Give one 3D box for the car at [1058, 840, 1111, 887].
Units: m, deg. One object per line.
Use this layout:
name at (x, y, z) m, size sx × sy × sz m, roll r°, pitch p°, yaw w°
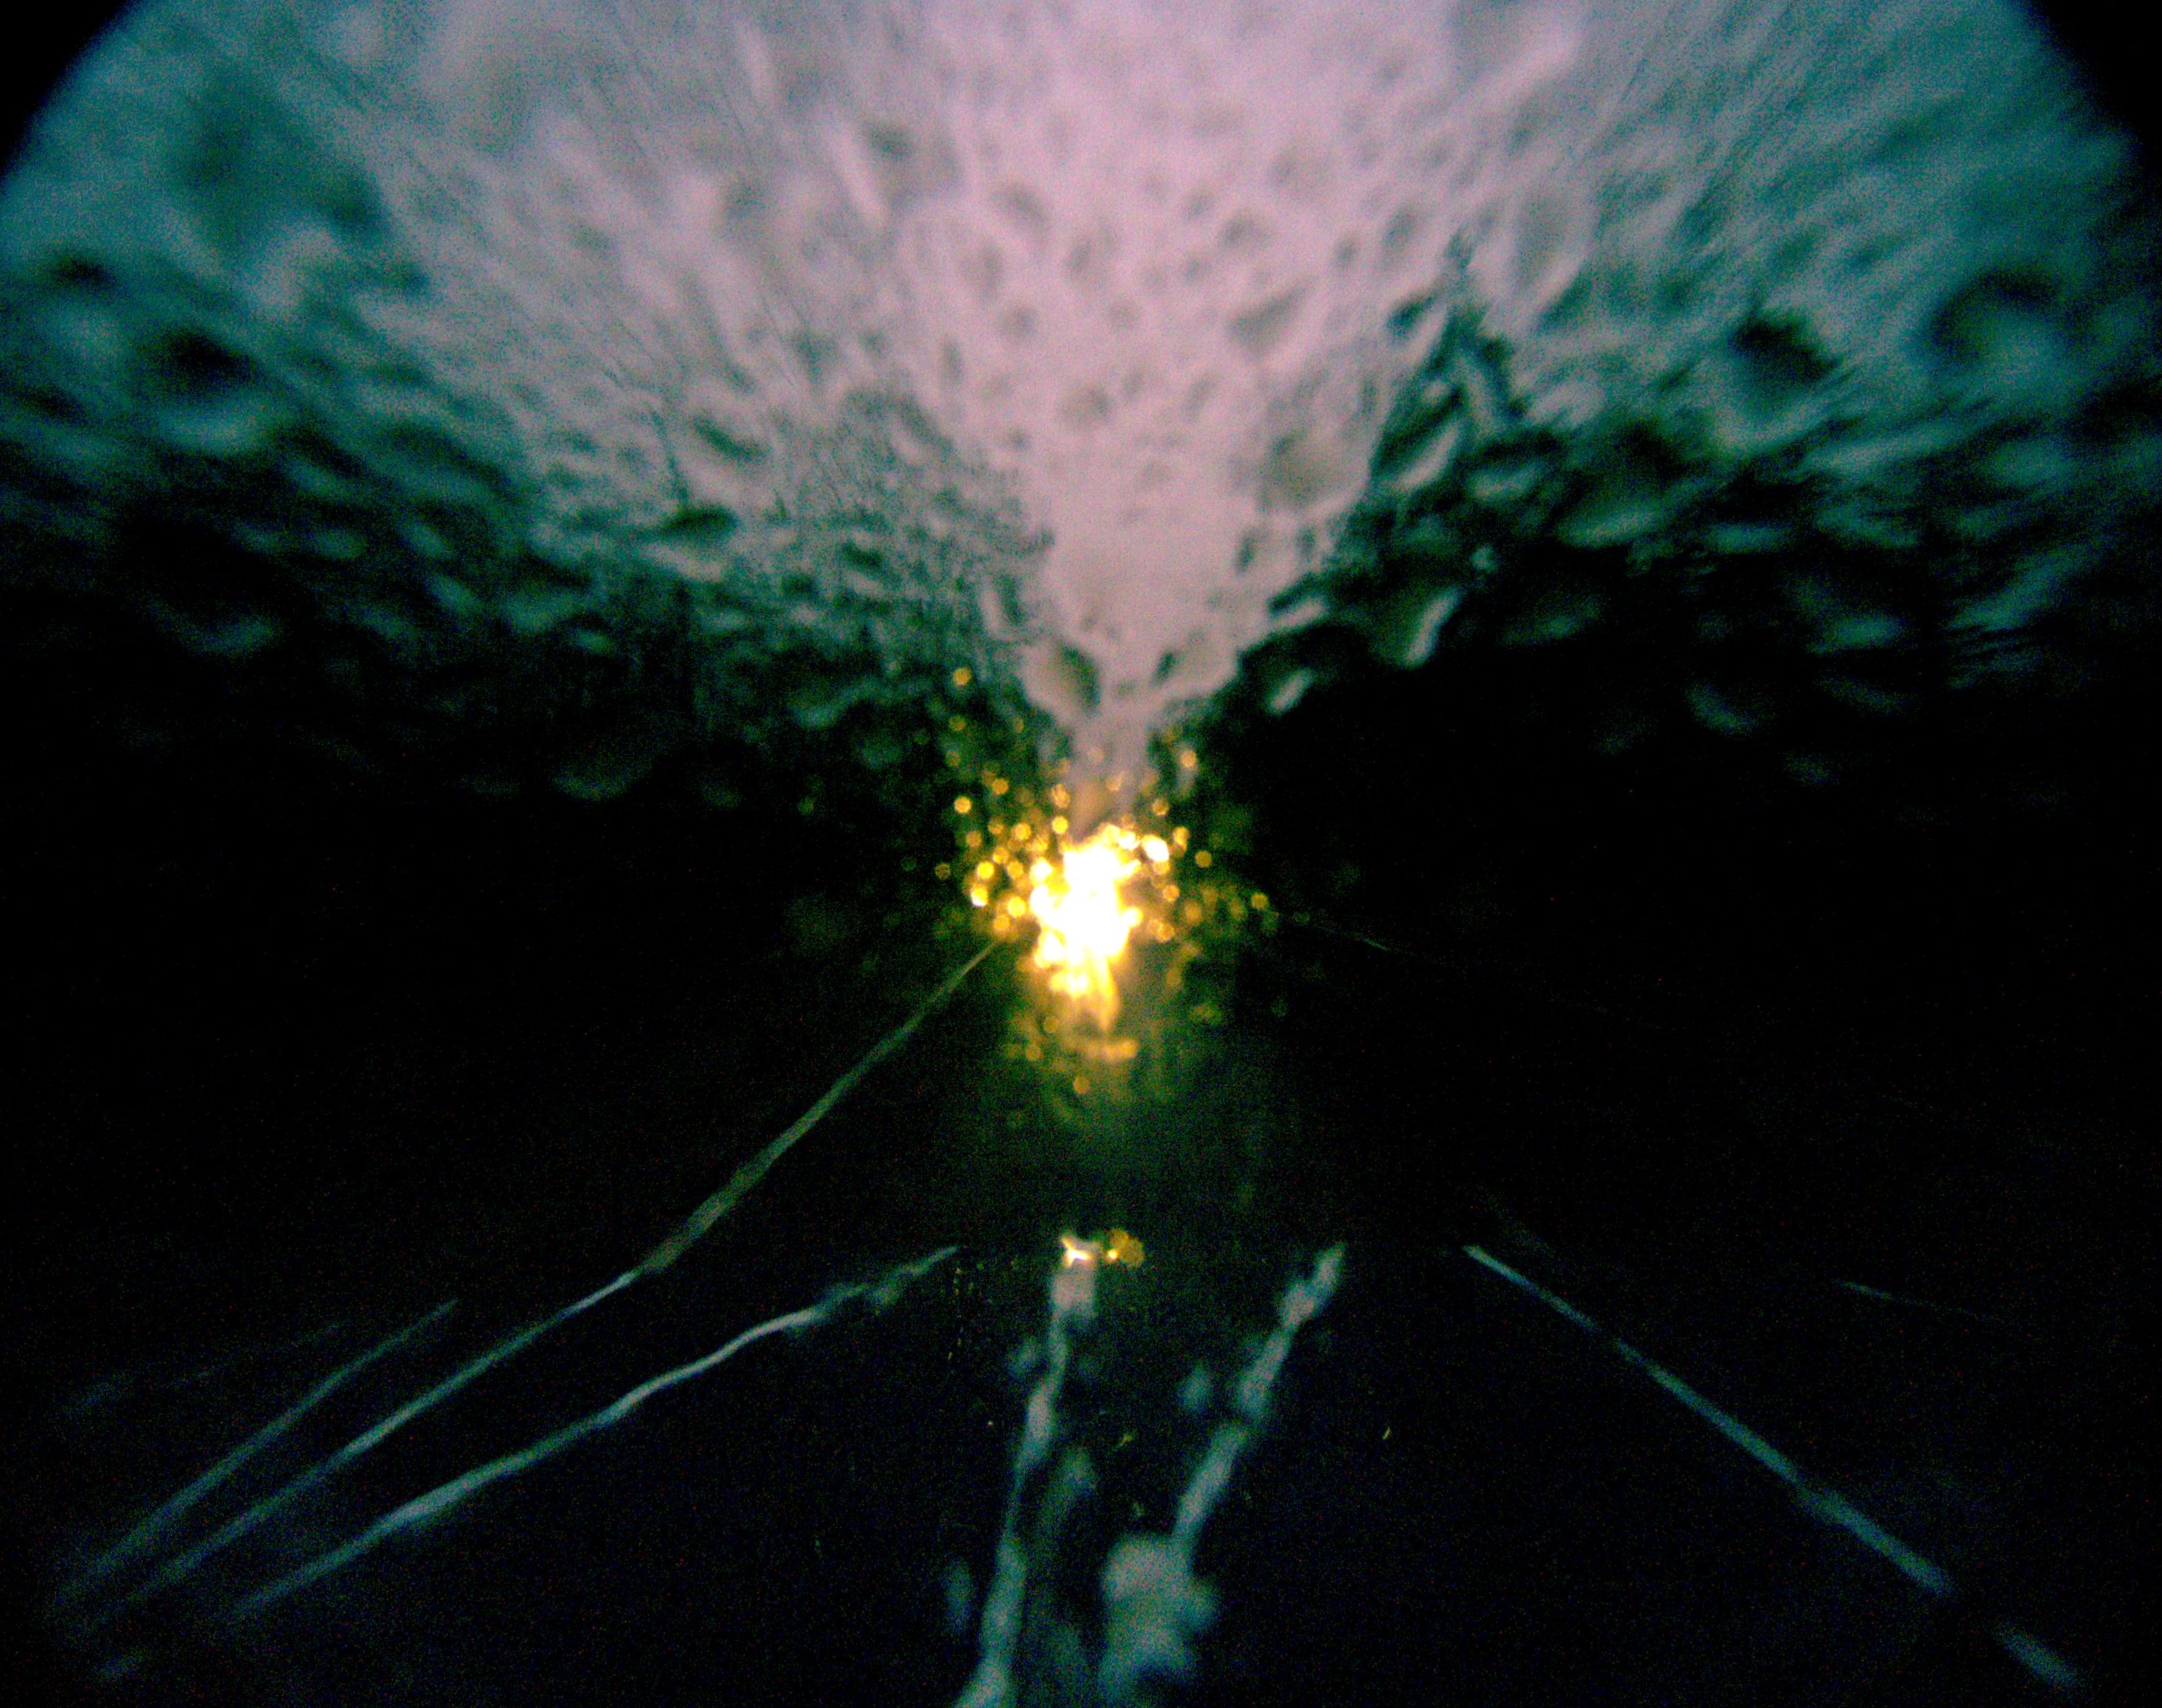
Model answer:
car at (0.264, 0.414, 39.980) m, size 2.542 × 2.213 × 6.169 m, roll -2°, pitch 1°, yaw 2°
